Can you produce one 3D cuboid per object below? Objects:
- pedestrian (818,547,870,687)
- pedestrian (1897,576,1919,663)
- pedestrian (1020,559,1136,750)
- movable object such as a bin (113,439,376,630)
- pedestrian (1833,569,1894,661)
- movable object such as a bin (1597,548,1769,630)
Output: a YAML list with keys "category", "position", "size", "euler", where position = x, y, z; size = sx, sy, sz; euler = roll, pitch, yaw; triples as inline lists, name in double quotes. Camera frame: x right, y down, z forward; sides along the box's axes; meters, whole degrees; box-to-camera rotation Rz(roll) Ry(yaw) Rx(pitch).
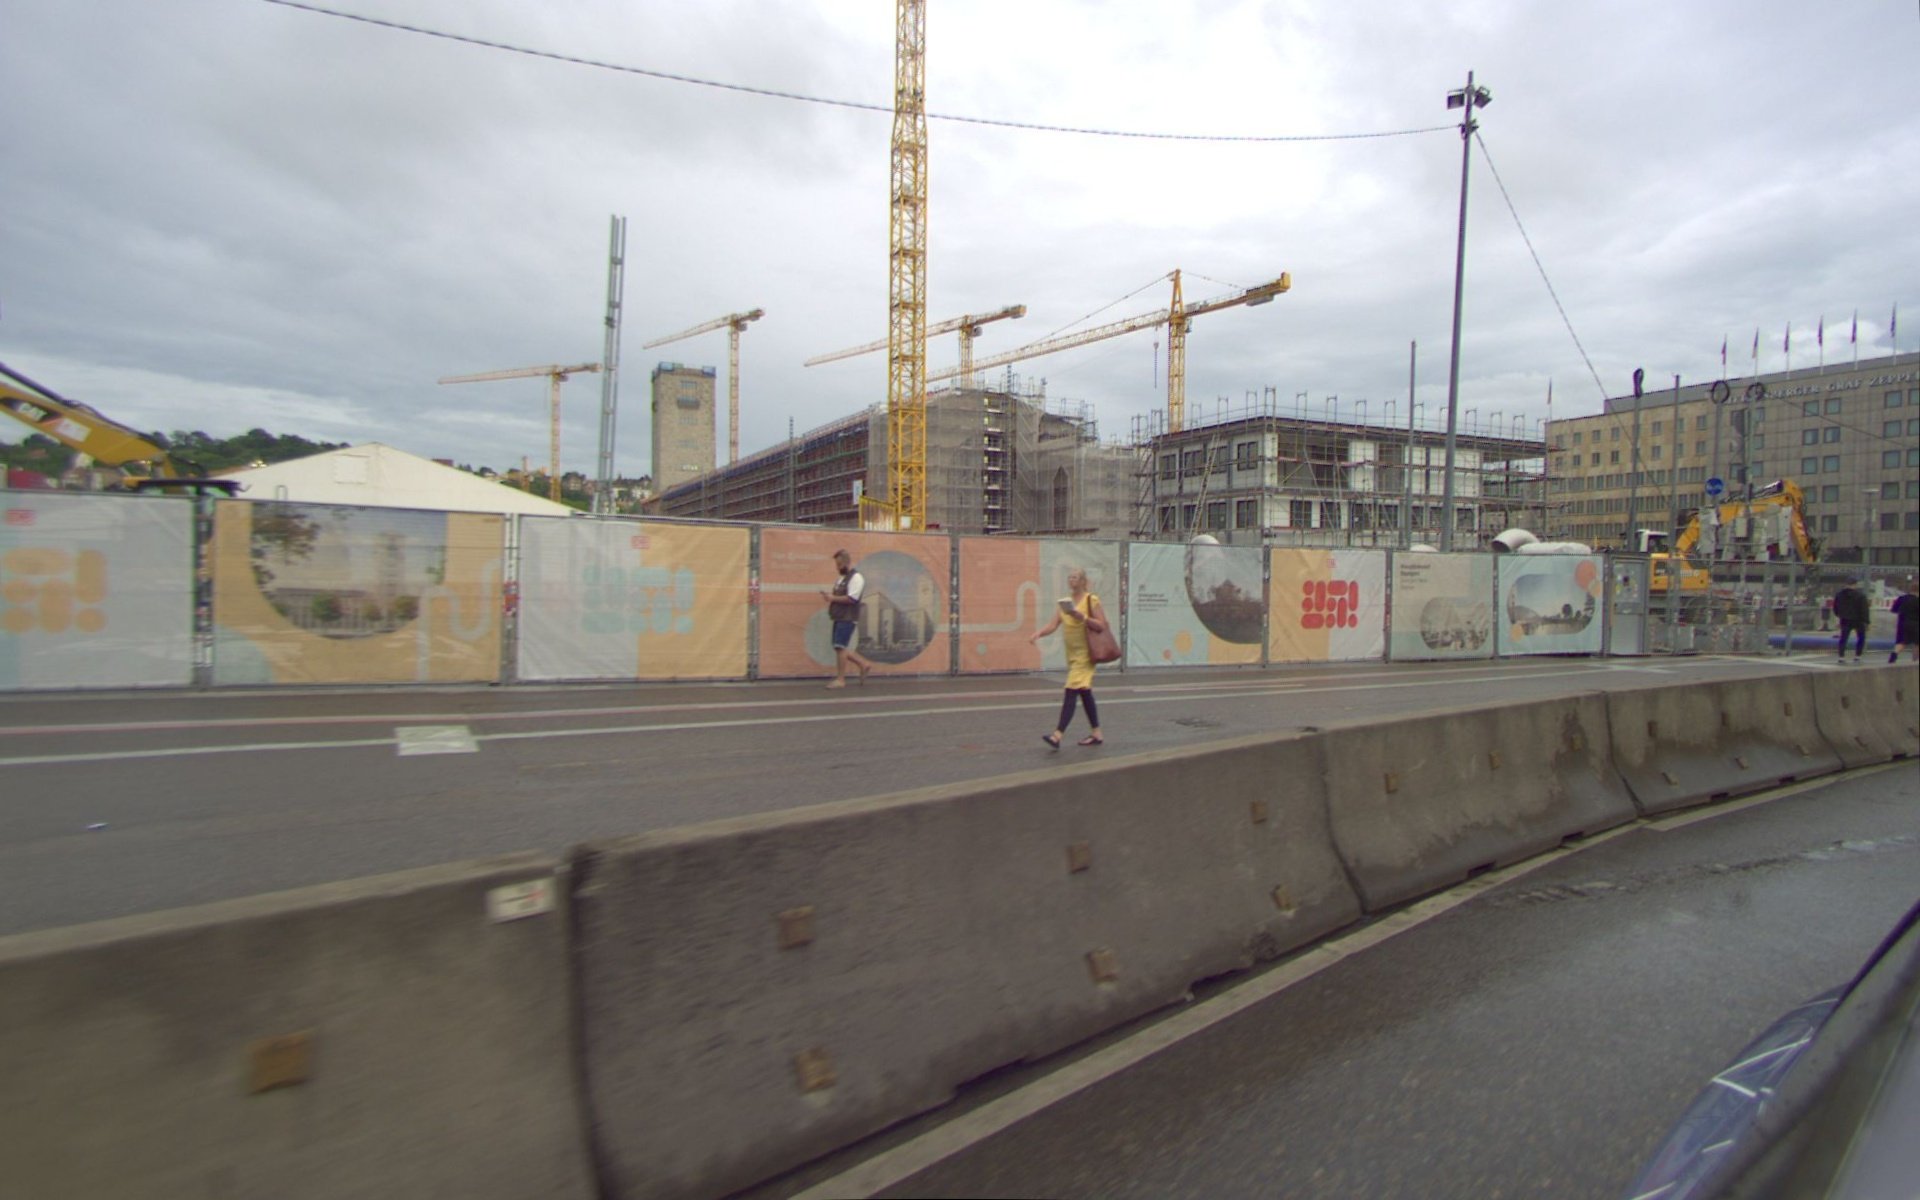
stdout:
- category: "pedestrian"
  position: [-1.503, 0.205, 13.113]
  size: [0.485, 1.770, 0.569]
  euler: [0, 1, -28]
- category: "pedestrian"
  position: [18.858, 0.374, 19.689]
  size: [0.929, 1.666, 0.650]
  euler: [0, 3, -32]
- category: "pedestrian"
  position: [1.089, 0.461, 9.301]
  size: [0.647, 1.653, 0.893]
  euler: [2, 1, 44]
- category: "movable object such as a bin"
  position: [-14.257, -1.227, 20.325]
  size: [4.154, 3.451, 1.942]
  euler: [-1, 2, -39]
- category: "pedestrian"
  position: [18.059, 0.283, 20.231]
  size: [0.751, 1.764, 0.650]
  euler: [0, 3, -32]
- category: "movable object such as a bin"
  position: [23.584, -0.399, 33.176]
  size: [4.061, 2.567, 1.995]
  euler: [1, 1, 10]
